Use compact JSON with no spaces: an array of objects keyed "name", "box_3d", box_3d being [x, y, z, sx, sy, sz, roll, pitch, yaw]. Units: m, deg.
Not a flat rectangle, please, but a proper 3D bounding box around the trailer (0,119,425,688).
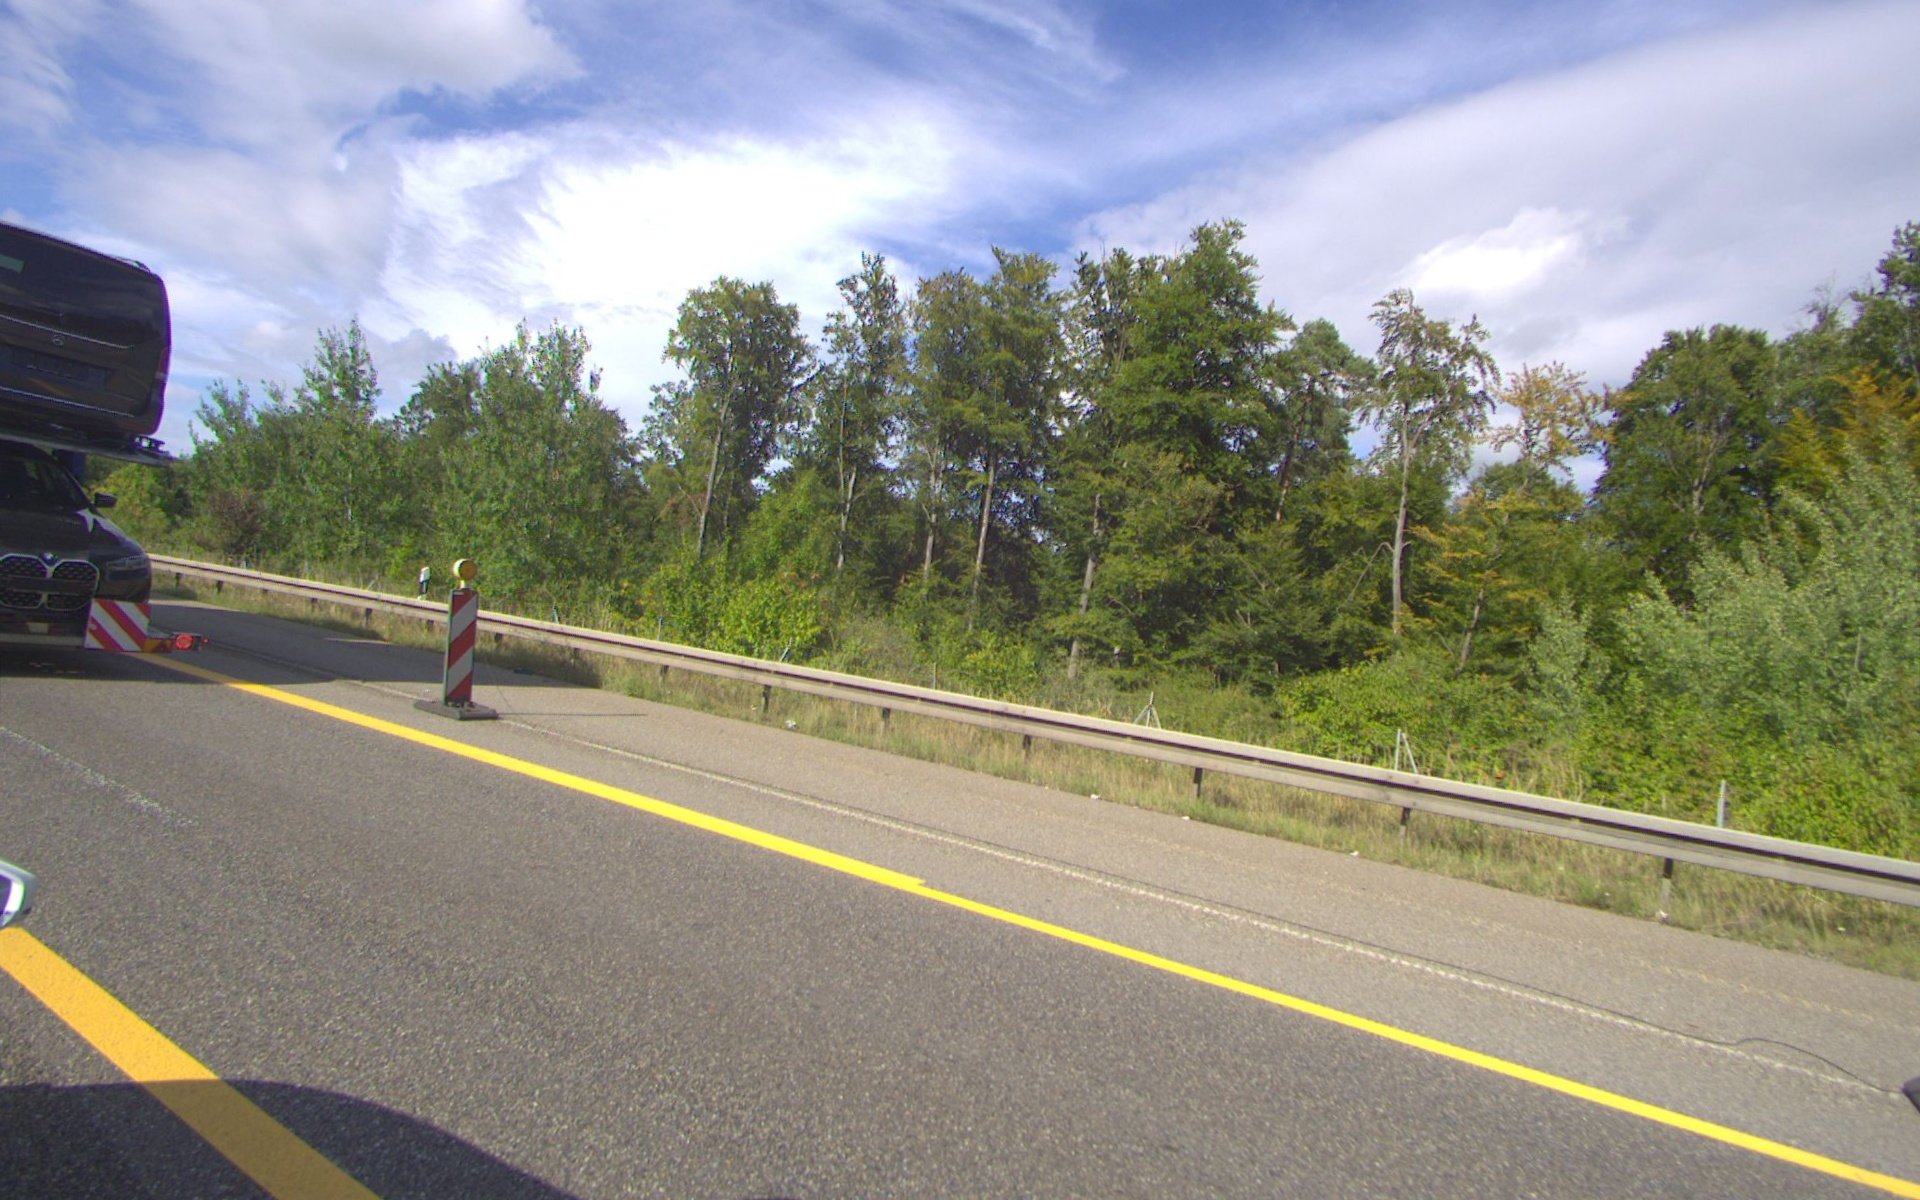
[{"name":"trailer","box_3d":[-13.623,-2.123,12.879,15.952,4.245,3.735,6,-2,30]}]
